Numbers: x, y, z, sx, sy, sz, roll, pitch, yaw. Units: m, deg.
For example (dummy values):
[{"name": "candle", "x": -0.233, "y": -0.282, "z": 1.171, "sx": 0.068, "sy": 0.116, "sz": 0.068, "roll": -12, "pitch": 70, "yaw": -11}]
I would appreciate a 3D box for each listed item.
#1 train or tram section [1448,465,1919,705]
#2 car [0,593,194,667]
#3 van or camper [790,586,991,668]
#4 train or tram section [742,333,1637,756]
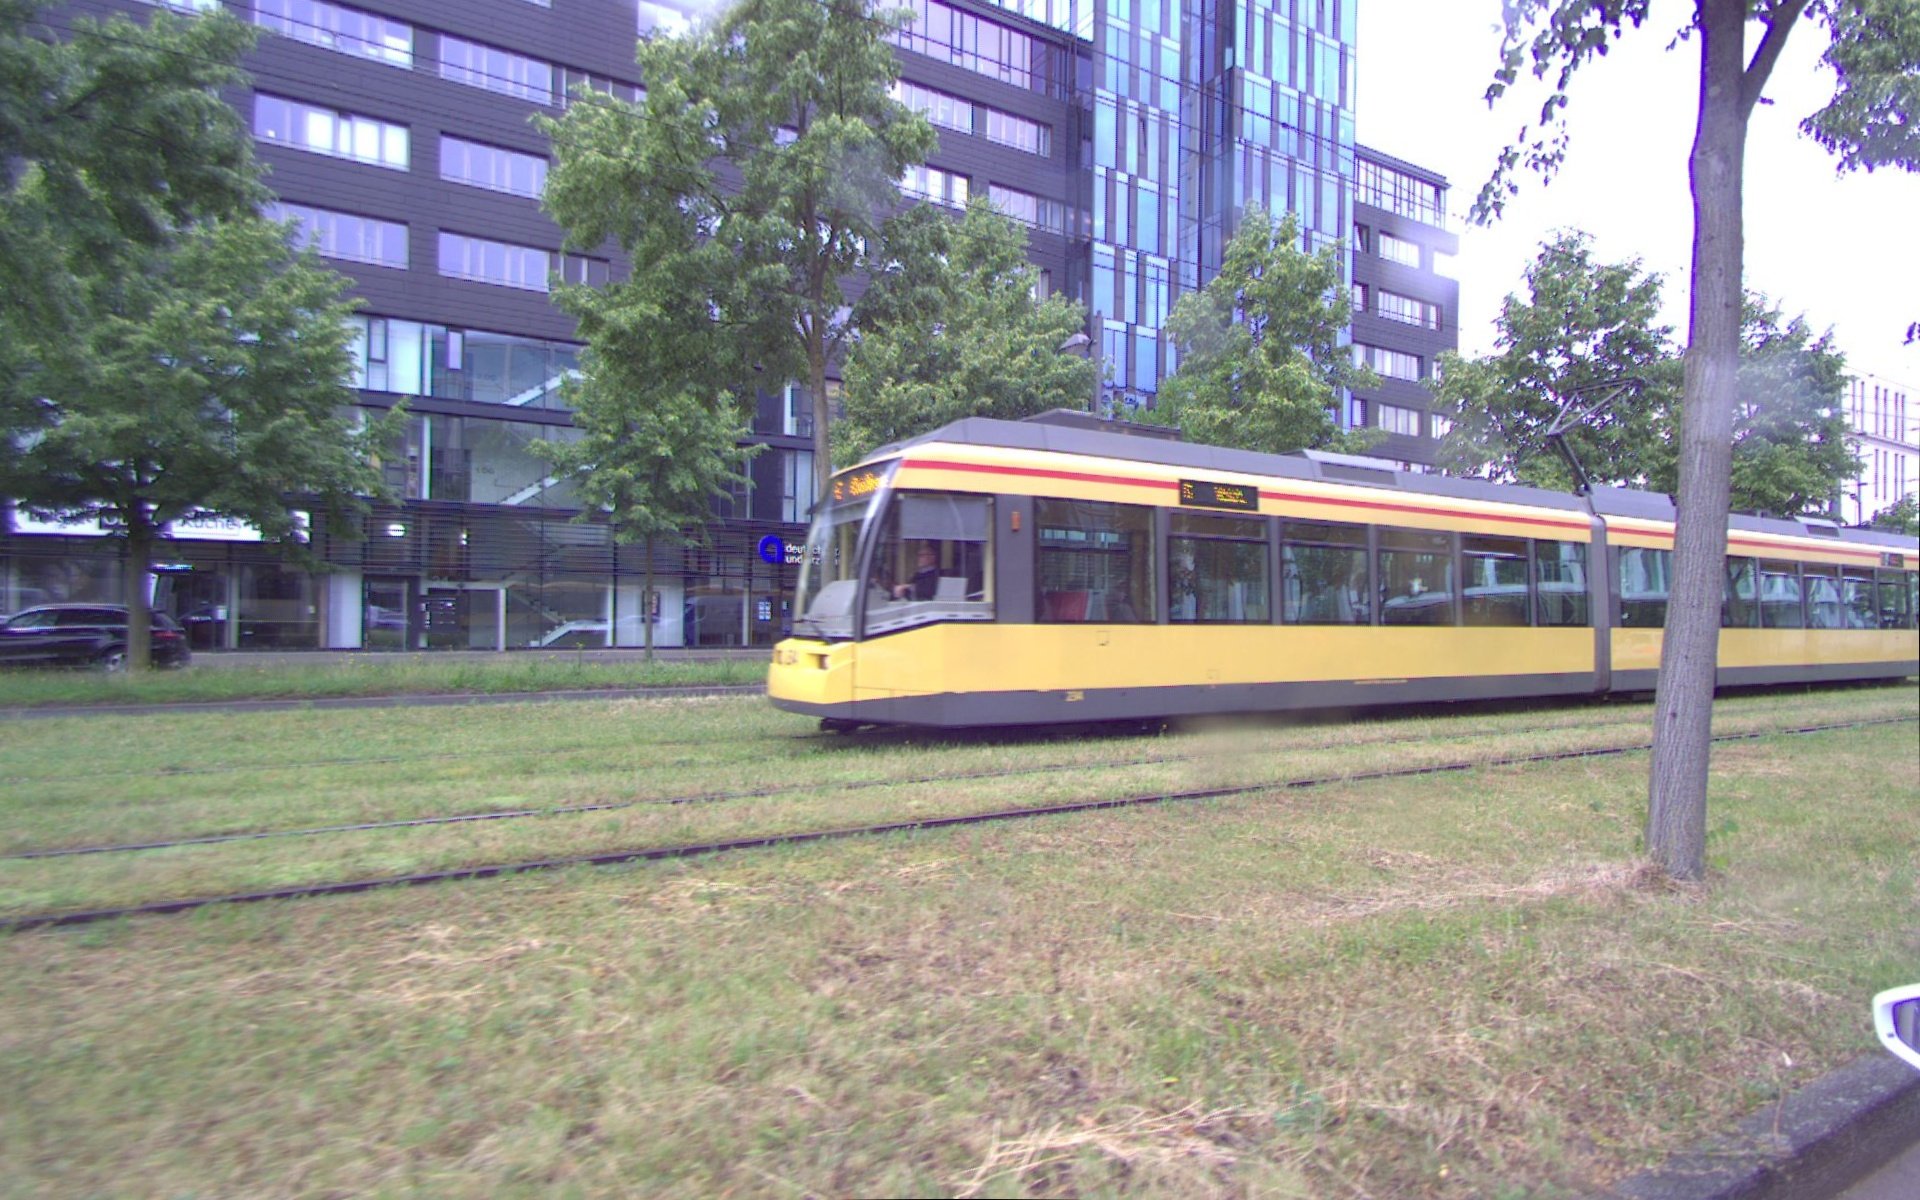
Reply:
[{"name": "train or tram section", "x": 16.083, "y": -0.113, "z": 20.712, "sx": 14.888, "sy": 3.707, "sz": 3.113, "roll": 1, "pitch": 0, "yaw": -31}, {"name": "car", "x": -18.858, "y": 0.617, "z": 21.094, "sx": 4.192, "sy": 1.469, "sz": 1.694, "roll": 1, "pitch": 0, "yaw": -30}, {"name": "van or camper", "x": -2.128, "y": 0.816, "z": 31.213, "sx": 5.781, "sy": 2.346, "sz": 2.421, "roll": 1, "pitch": 0, "yaw": -30}, {"name": "train or tram section", "x": 3.992, "y": -0.380, "z": 13.529, "sx": 13.249, "sy": 3.707, "sz": 3.114, "roll": 1, "pitch": 0, "yaw": -31}]
